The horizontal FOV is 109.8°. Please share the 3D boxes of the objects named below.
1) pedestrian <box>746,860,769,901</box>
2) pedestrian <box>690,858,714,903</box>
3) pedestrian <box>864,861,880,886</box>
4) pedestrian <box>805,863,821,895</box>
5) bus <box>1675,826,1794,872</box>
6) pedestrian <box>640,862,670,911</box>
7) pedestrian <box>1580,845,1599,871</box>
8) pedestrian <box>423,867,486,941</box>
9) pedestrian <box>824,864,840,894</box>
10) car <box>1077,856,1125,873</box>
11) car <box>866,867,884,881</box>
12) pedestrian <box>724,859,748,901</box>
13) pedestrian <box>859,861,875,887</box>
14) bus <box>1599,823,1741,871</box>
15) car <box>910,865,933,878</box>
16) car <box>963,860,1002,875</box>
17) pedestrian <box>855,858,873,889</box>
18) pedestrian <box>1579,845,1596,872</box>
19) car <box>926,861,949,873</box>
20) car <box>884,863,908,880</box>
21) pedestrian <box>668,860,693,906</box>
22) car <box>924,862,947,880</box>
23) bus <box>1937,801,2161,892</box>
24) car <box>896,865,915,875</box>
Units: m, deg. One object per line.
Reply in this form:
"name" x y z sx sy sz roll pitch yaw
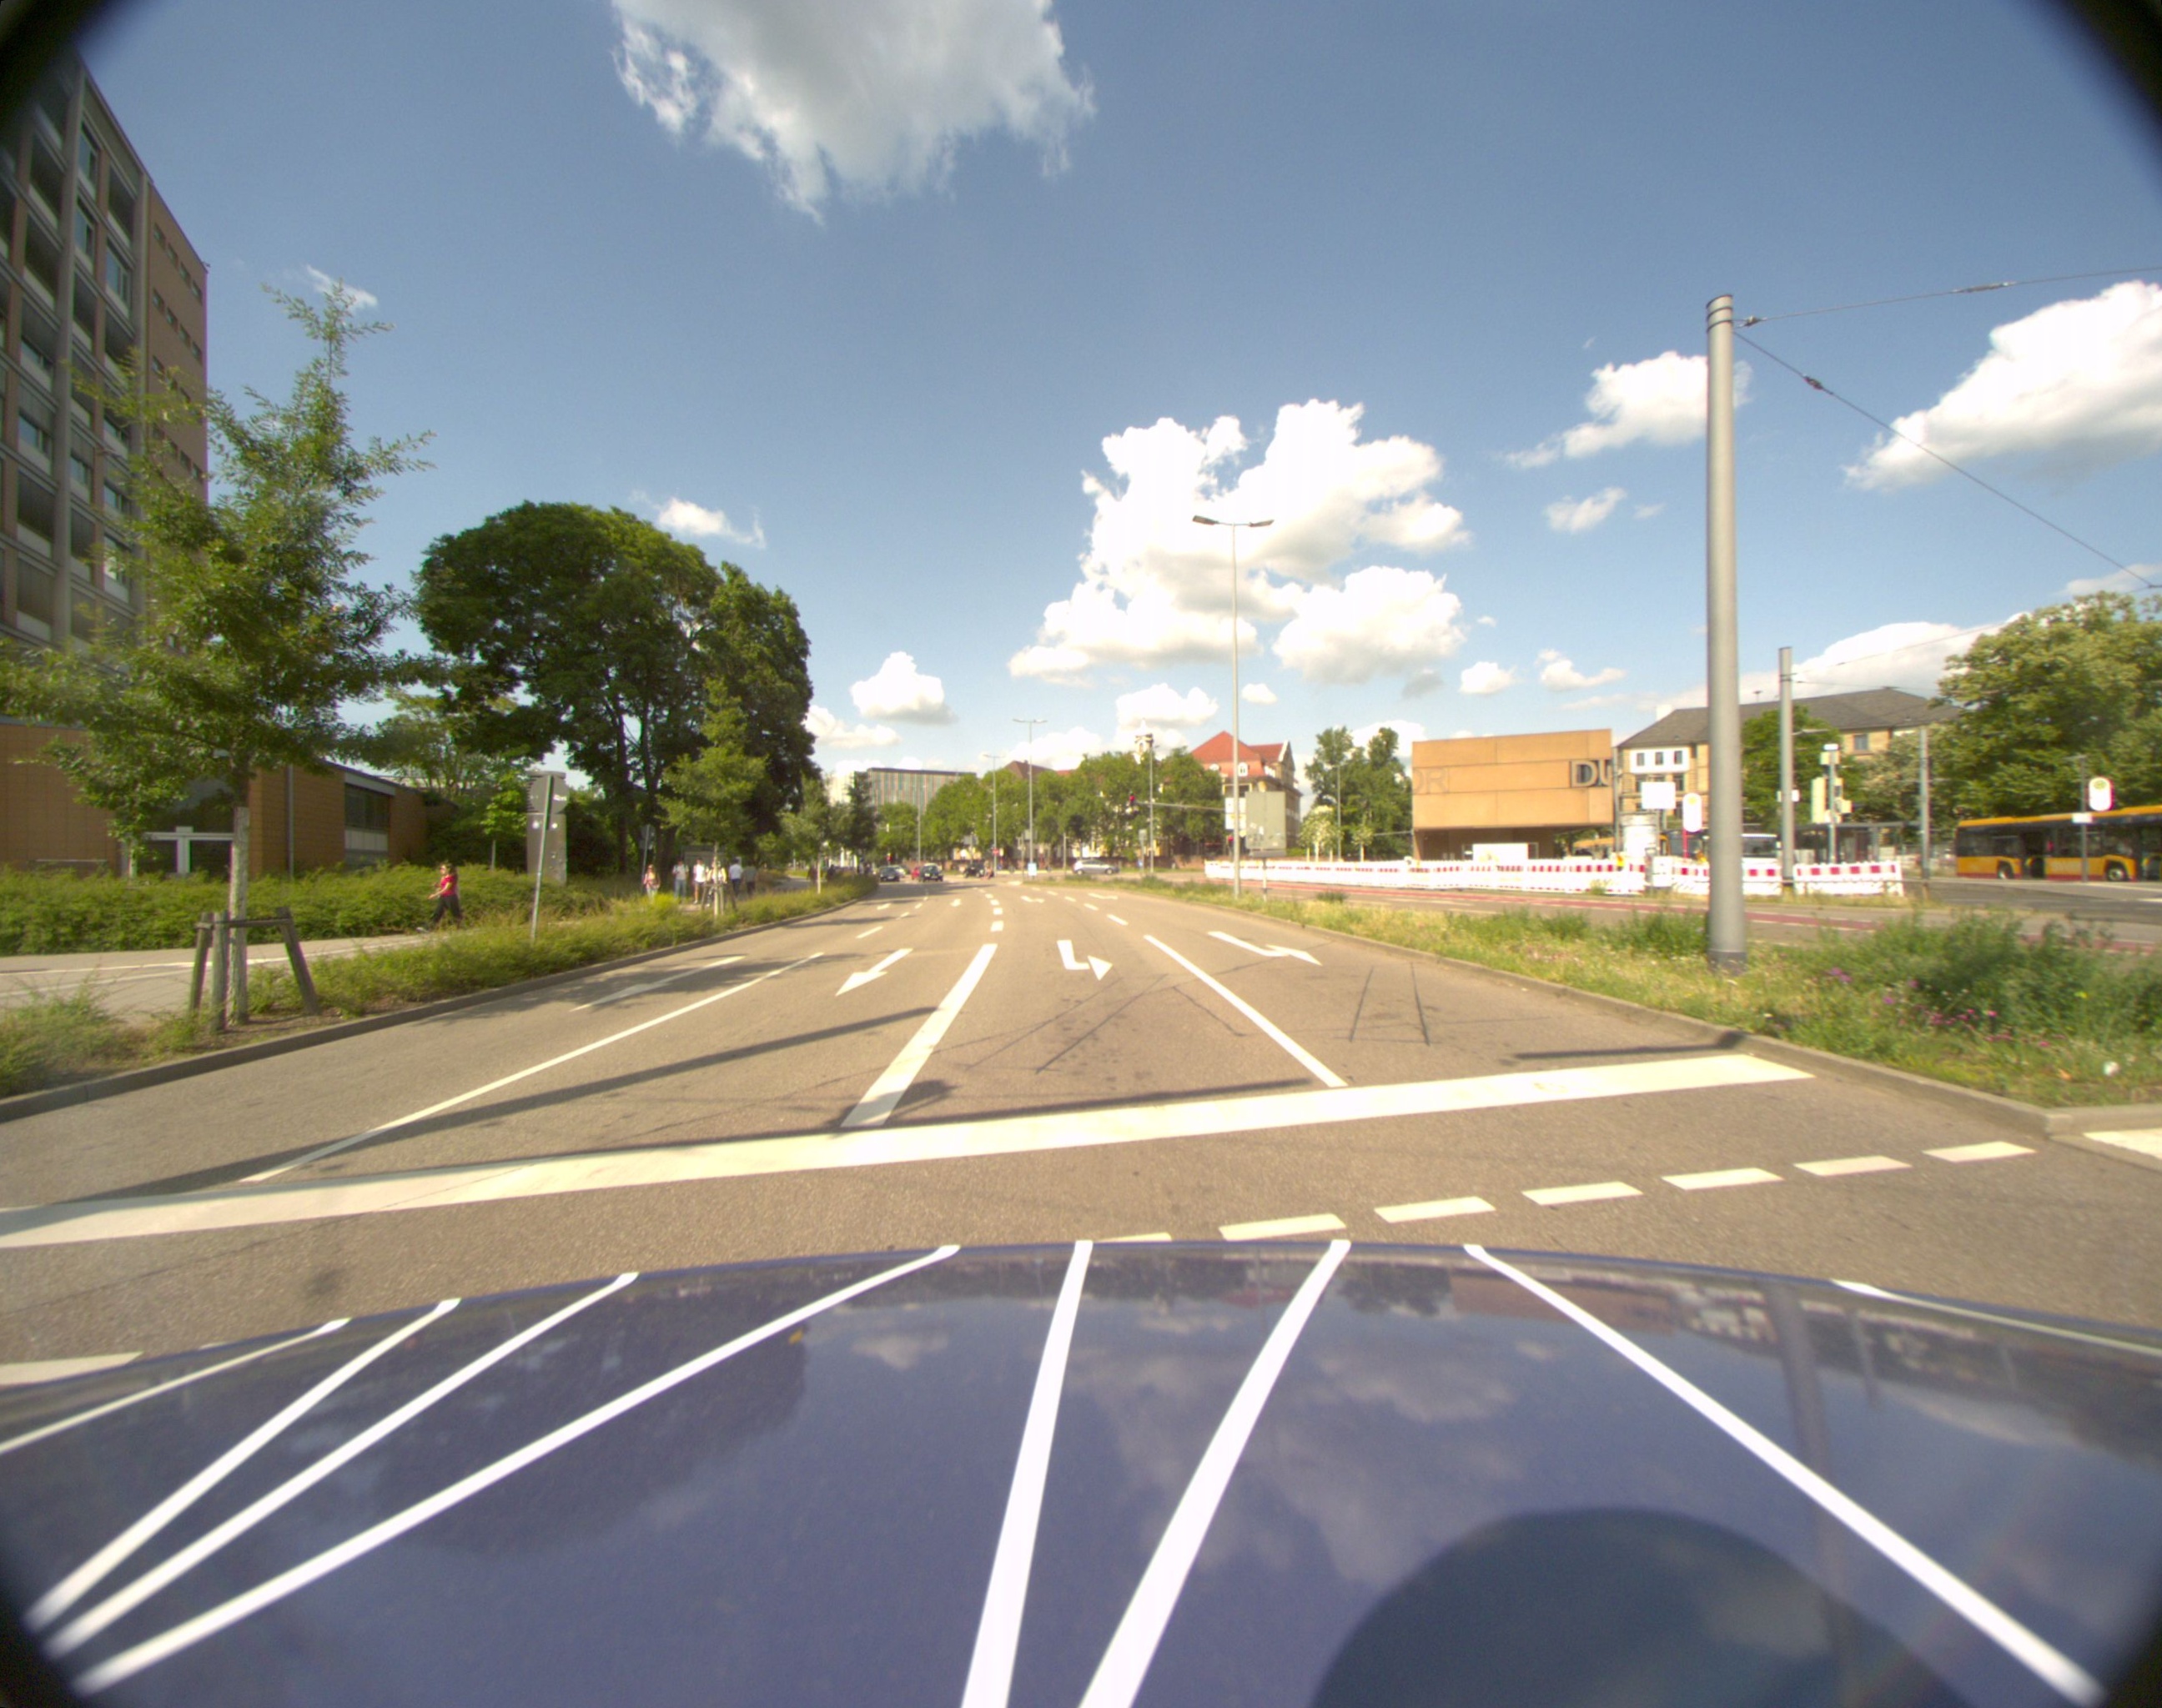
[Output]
"pedestrian" -13.975 1.136 32.844 0.745 1.744 0.888 2 0 -13
"pedestrian" -14.627 1.008 29.340 0.616 1.690 0.888 2 0 -12
"pedestrian" -14.659 1.348 53.212 0.928 1.725 0.767 -3 1 -9
"pedestrian" -15.288 1.419 43.366 0.769 1.725 0.718 -3 1 -15
"bus" 58.564 -0.286 68.944 3.600 3.610 18.907 -1 -1 26
"pedestrian" -14.438 1.089 25.762 0.616 1.613 0.888 2 0 -12
"pedestrian" 32.585 0.264 48.673 0.653 1.622 0.765 -1 1 -18
"pedestrian" -14.287 1.115 17.340 0.615 1.613 0.890 2 0 13
"pedestrian" -14.470 1.443 44.167 0.769 1.725 0.718 -3 1 -15
"car" 1.842 0.967 70.226 4.268 1.368 1.999 -2 0 -4
"car" -23.446 2.268 86.604 1.828 1.454 3.995 -1 0 -14
"pedestrian" -14.812 1.103 32.664 0.745 1.736 0.888 2 0 -12
"pedestrian" -14.737 1.368 52.412 0.928 1.725 0.767 -3 1 -9
"bus" 47.606 -0.449 62.801 3.468 3.165 23.819 -1 0 23
"car" -15.906 1.738 75.785 1.600 1.127 3.622 -2 0 -23
"car" -9.877 1.344 75.777 3.778 1.327 1.737 -2 1 41
"pedestrian" -14.240 1.262 49.873 0.965 2.002 0.767 -3 1 -9
"pedestrian" 30.228 0.281 45.360 0.731 1.620 0.561 -1 1 23
"car" -17.140 1.518 90.779 1.781 1.346 3.992 -2 1 -23
"car" -16.948 1.553 69.810 1.827 1.454 3.997 -1 0 -10
"pedestrian" -15.345 1.098 29.125 0.616 1.690 0.888 2 0 -12
"car" -12.684 1.452 66.162 1.827 1.454 3.996 -1 0 -13
"bus" 40.800 -0.255 30.922 2.827 3.117 12.863 -1 0 24
"car" -20.233 1.860 87.521 1.911 1.127 4.097 -1 0 -16
